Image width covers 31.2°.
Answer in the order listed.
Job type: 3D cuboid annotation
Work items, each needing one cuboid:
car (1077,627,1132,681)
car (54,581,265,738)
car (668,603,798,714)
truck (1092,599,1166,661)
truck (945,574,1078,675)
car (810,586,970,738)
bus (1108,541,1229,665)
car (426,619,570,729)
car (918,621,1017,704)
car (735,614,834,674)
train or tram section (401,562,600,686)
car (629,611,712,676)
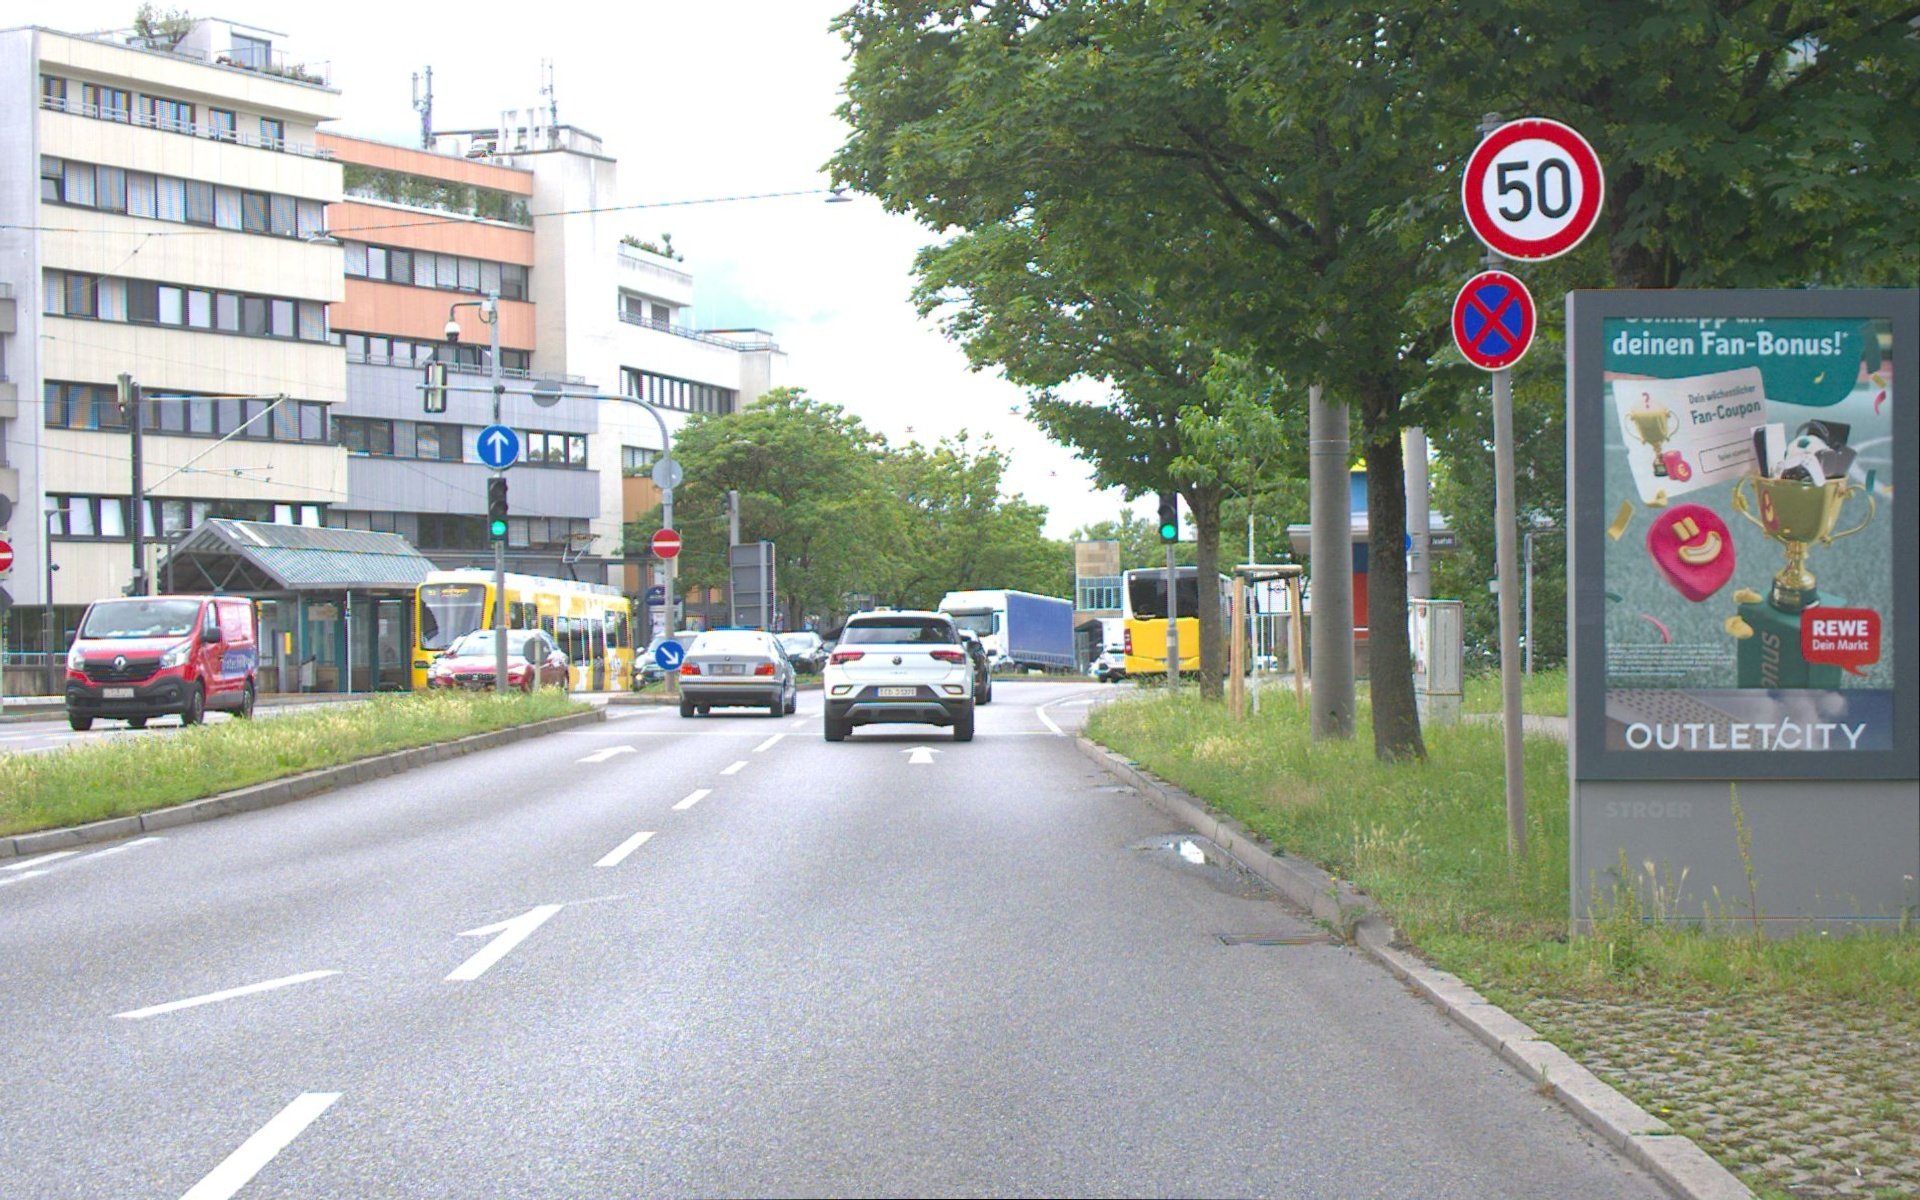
[{"bbox_3d":[4.874,1.804,115.603,1.770,1.565,4.285,0,2,3],"label":"car"},{"bbox_3d":[-11.791,0.831,50.956,1.993,2.006,4.835,1,2,0],"label":"car"},{"bbox_3d":[-3.600,0.901,55.084,1.700,1.510,3.736,0,3,2],"label":"car"},{"bbox_3d":[8.589,1.486,173.682,3.084,3.018,9.355,-1,0,7],"label":"truck"},{"bbox_3d":[2.335,1.006,146.235,2.955,4.066,16.594,0,0,10],"label":"truck"},{"bbox_3d":[-0.806,0.711,41.855,1.700,1.543,3.736,3,3,2],"label":"car"},{"bbox_3d":[5.544,0.089,92.943,2.954,3.180,9.927,0,0,2],"label":"bus"},{"bbox_3d":[-8.463,1.324,63.344,1.993,1.584,4.836,1,4,0],"label":"car"},{"bbox_3d":[0.167,1.221,68.306,1.700,1.511,3.493,0,1,5],"label":"car"},{"bbox_3d":[-4.873,1.249,96.156,1.898,1.612,4.273,-1,-1,9],"label":"car"},{"bbox_3d":[-13.466,0.738,102.050,2.560,3.399,13.078,-1,-1,7],"label":"train or tram section"},{"bbox_3d":[-6.682,1.023,79.654,1.614,1.441,3.652,-1,-1,0],"label":"car"}]
